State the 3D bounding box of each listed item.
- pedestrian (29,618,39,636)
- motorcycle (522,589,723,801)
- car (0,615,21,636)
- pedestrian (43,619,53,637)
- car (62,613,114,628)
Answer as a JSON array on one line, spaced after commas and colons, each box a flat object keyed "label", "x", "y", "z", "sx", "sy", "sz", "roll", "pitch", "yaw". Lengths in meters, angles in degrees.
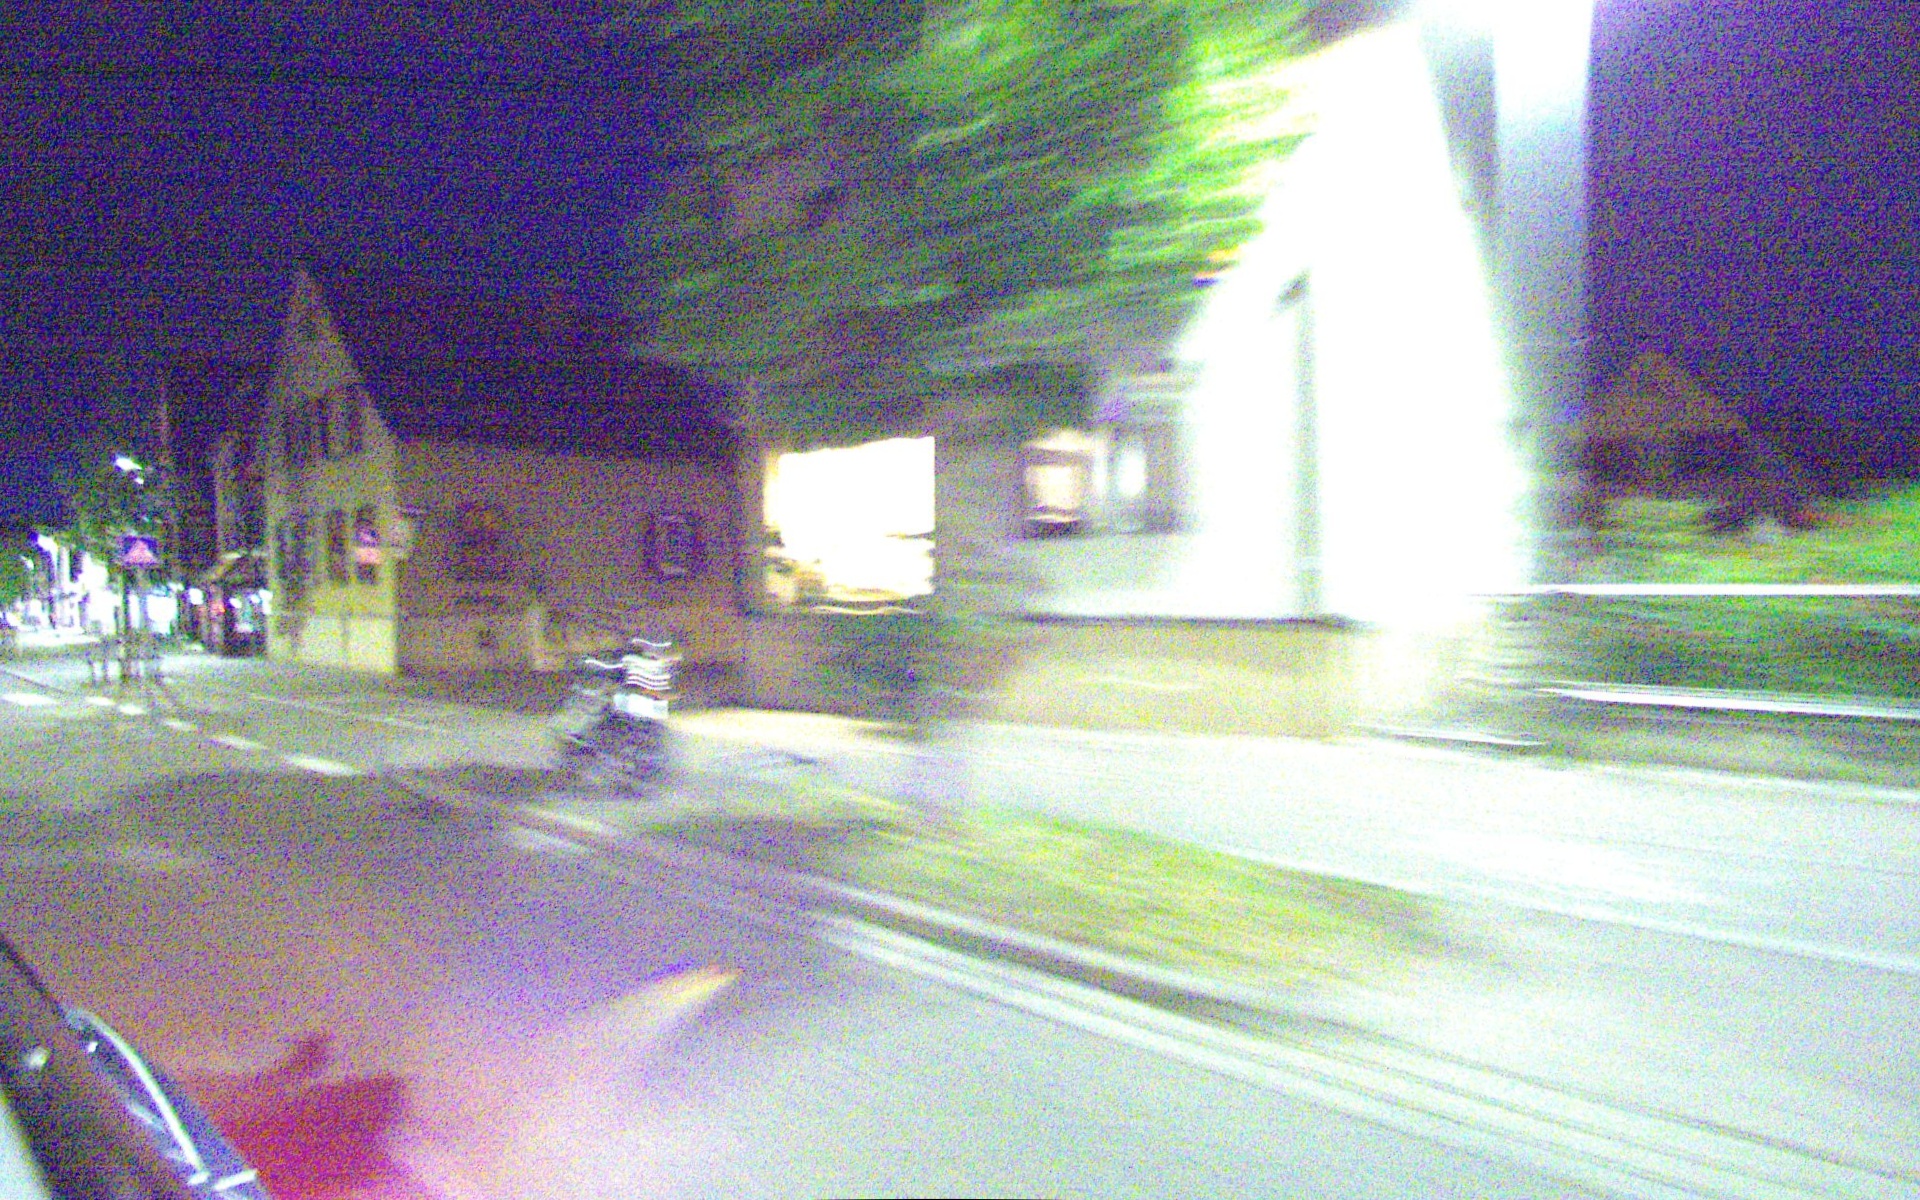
[{"label": "pedestrian", "x": -83.832, "y": 2.482, "z": 91.595, "sx": 0.665, "sy": 1.600, "sz": 0.523, "roll": -1, "pitch": 0, "yaw": 37}, {"label": "motorcycle", "x": -2.764, "y": 0.667, "z": 8.105, "sx": 0.737, "sy": 1.463, "sz": 2.199, "roll": -1, "pitch": 0, "yaw": -40}, {"label": "car", "x": -72.523, "y": 1.930, "z": 76.526, "sx": 4.932, "sy": 1.430, "sz": 1.875, "roll": -1, "pitch": 2, "yaw": 44}, {"label": "pedestrian", "x": -83.326, "y": 2.542, "z": 92.426, "sx": 0.664, "sy": 1.600, "sz": 0.523, "roll": -1, "pitch": 0, "yaw": 35}, {"label": "car", "x": -85.365, "y": 2.025, "z": 99.065, "sx": 1.653, "sy": 1.427, "sz": 3.780, "roll": -1, "pitch": -1, "yaw": 45}]
